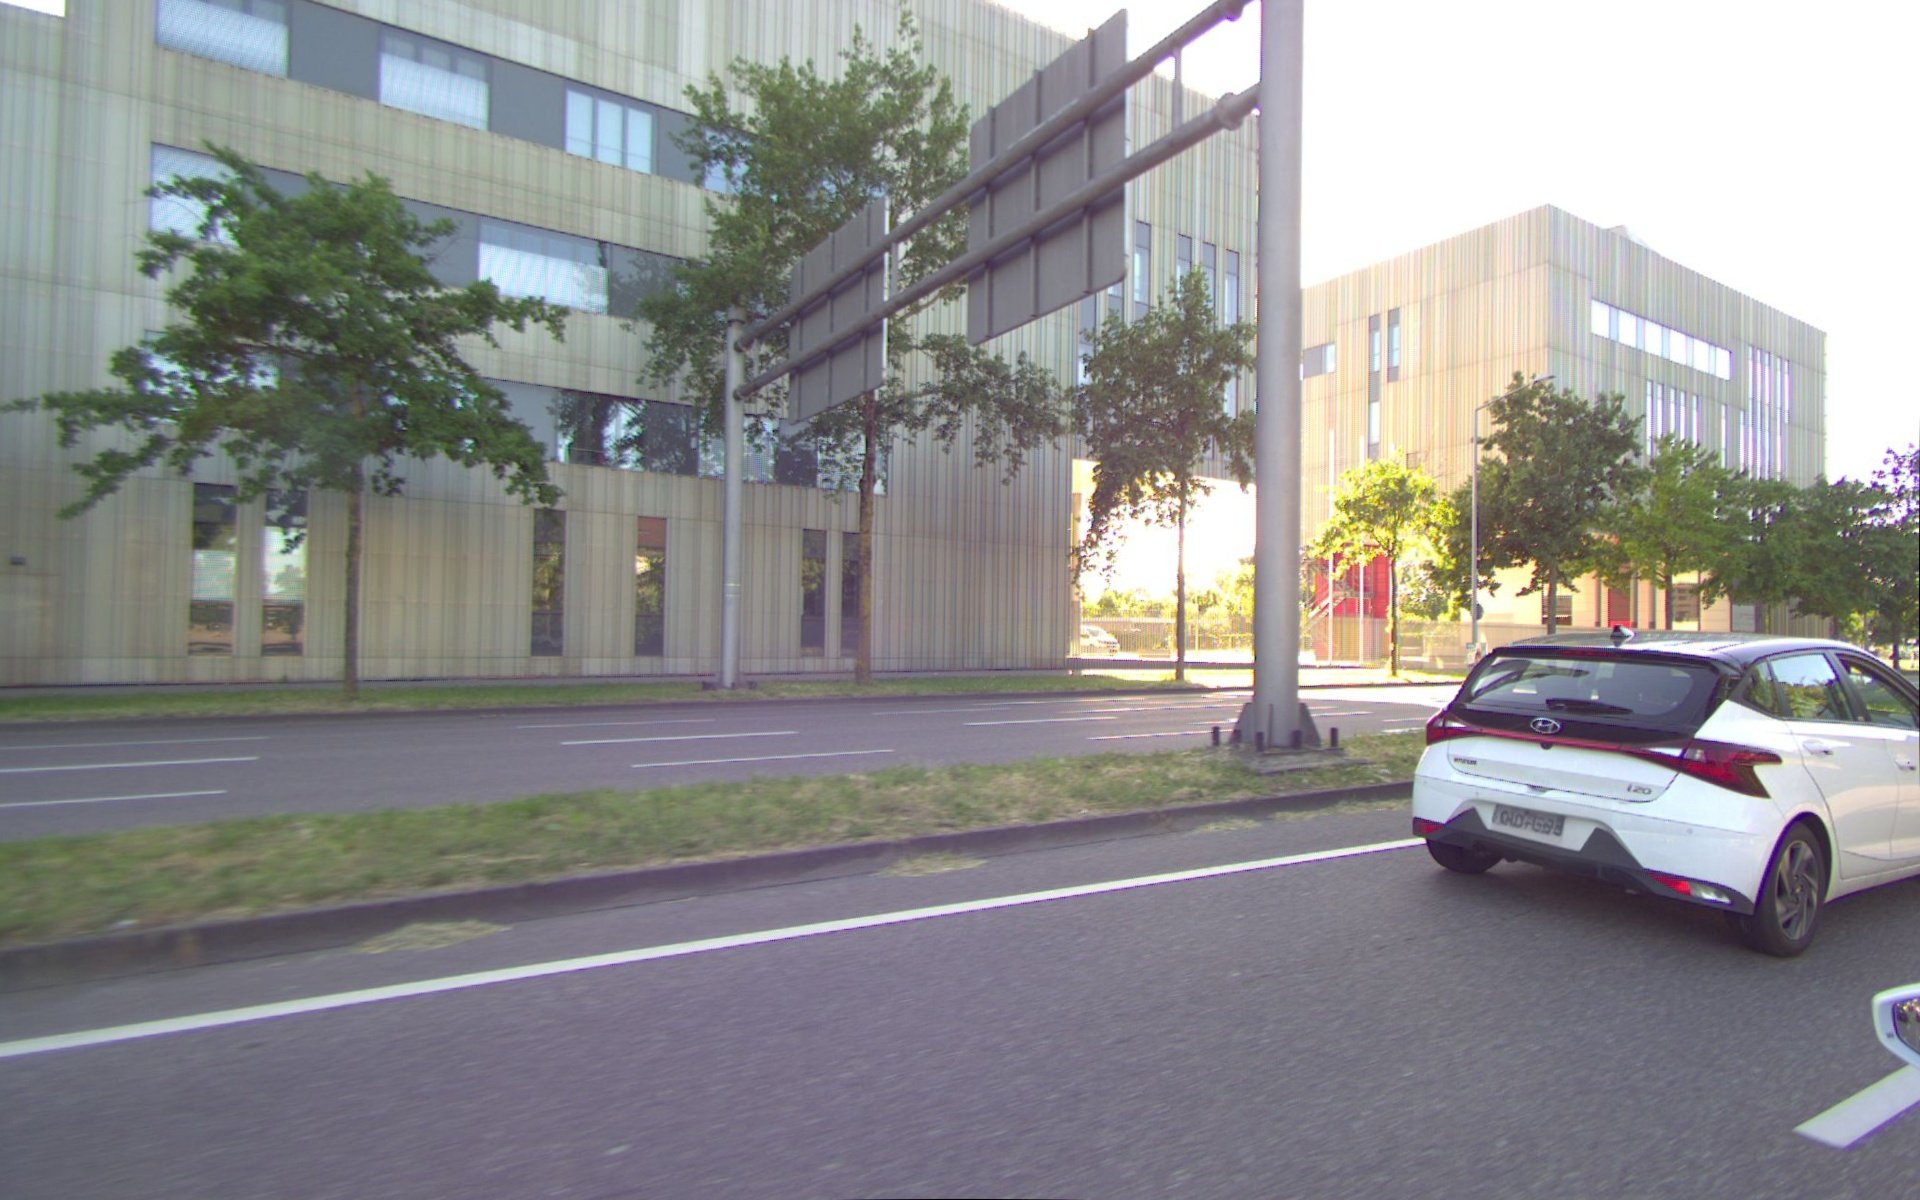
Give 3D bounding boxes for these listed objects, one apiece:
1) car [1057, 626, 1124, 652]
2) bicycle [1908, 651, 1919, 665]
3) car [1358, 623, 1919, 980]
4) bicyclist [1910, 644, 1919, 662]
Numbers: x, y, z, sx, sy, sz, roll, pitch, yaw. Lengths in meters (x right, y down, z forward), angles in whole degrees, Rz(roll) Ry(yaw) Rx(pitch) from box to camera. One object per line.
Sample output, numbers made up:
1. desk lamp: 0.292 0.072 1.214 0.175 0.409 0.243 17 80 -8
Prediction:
1. car: 8.121 2.419 62.729 1.912 1.523 4.367 2 -2 -30
2. bicycle: 75.220 4.580 79.043 2.074 1.016 0.484 3 -2 -34
3. car: 4.418 0.890 5.878 4.026 1.427 1.770 2 -1 -30
4. bicyclist: 75.246 4.179 79.068 0.835 1.413 0.479 3 -2 -33
